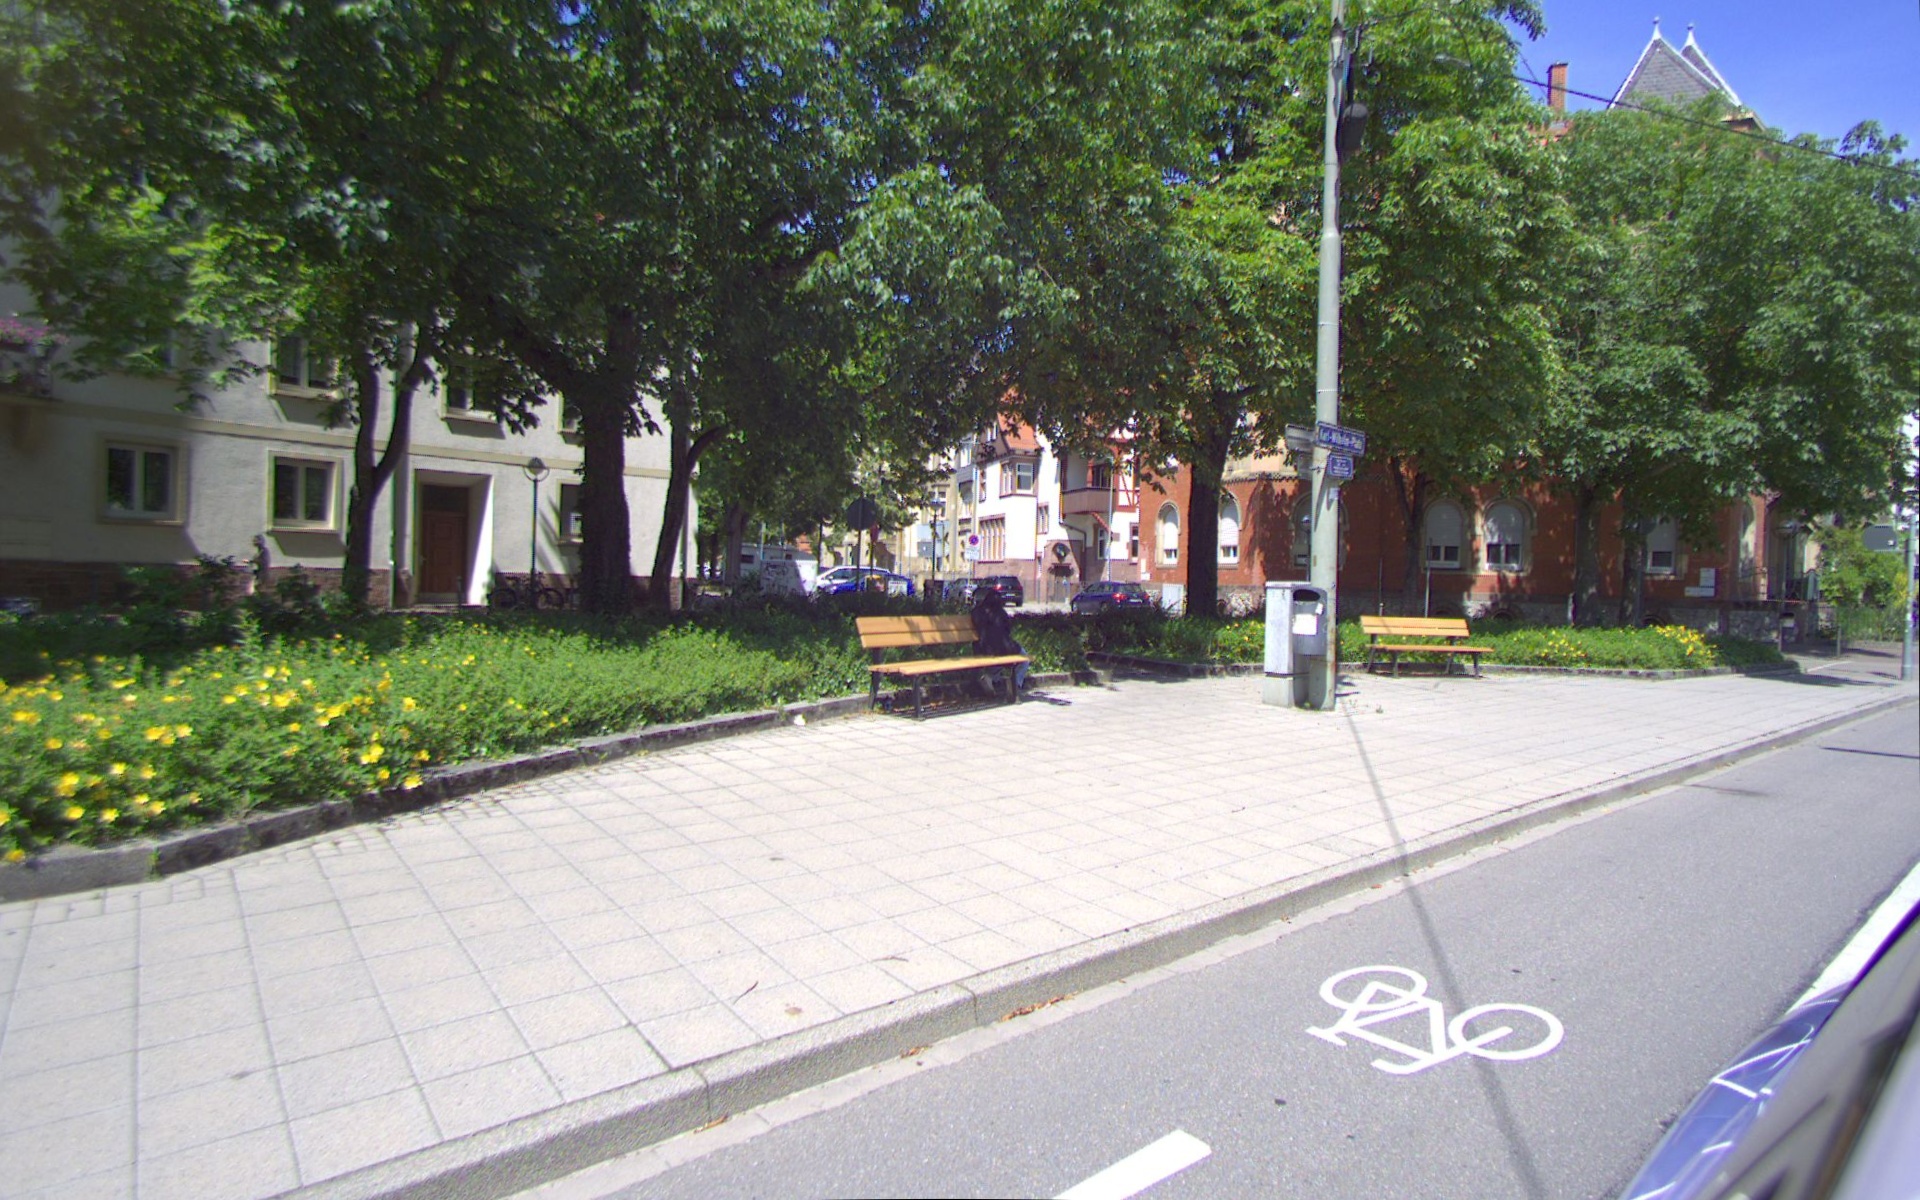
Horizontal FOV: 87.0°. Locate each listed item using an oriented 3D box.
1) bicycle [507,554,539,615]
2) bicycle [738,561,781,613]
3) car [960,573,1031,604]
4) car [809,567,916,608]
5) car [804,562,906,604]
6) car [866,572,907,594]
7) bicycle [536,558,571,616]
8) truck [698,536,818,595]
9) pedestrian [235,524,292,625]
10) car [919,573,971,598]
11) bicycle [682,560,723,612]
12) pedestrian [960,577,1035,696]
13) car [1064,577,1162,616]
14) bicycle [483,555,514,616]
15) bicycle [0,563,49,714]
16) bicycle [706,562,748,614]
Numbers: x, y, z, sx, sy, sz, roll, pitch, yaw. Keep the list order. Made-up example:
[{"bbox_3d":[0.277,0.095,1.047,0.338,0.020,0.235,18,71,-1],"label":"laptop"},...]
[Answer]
[{"bbox_3d":[-10.316,-0.369,23.861,0.505,1.364,2.247,0,1,-28],"label":"bicycle"},{"bbox_3d":[-5.381,-0.358,27.082,0.536,1.316,2.162,0,1,-28],"label":"bicycle"},{"bbox_3d":[1.826,-0.654,54.458,1.946,1.551,5.502,0,1,-19],"label":"car"},{"bbox_3d":[-3.845,-0.478,39.782,3.807,1.447,1.731,2,0,-21],"label":"car"},{"bbox_3d":[-4.670,-0.746,45.041,4.176,1.673,1.731,2,0,-21],"label":"car"},{"bbox_3d":[-5.430,-1.239,74.354,1.865,1.575,4.411,0,1,-20],"label":"car"},{"bbox_3d":[-9.636,-0.313,23.950,0.536,1.316,2.162,0,1,-28],"label":"bicycle"},{"bbox_3d":[-12.067,-2.003,60.529,6.685,3.193,1.939,2,0,-19],"label":"truck"},{"bbox_3d":[-14.497,-0.527,21.055,0.803,2.039,0.763,1,1,37],"label":"pedestrian"},{"bbox_3d":[-1.002,-0.921,63.882,1.865,1.482,4.626,0,1,-20],"label":"car"},{"bbox_3d":[-6.732,-0.377,26.417,0.536,1.316,2.162,0,1,-28],"label":"bicycle"},{"bbox_3d":[0.362,0.350,9.941,0.469,1.105,0.511,2,2,-34],"label":"pedestrian"},{"bbox_3d":[6.130,-0.173,41.109,1.865,1.459,4.769,0,1,-20],"label":"car"},{"bbox_3d":[-10.795,-0.344,23.643,0.505,1.361,2.332,0,1,-28],"label":"bicycle"},{"bbox_3d":[-9.913,0.388,9.455,0.584,1.504,2.160,1,1,12],"label":"bicycle"},{"bbox_3d":[-6.148,-0.325,26.595,0.536,1.316,2.162,0,1,-28],"label":"bicycle"}]
